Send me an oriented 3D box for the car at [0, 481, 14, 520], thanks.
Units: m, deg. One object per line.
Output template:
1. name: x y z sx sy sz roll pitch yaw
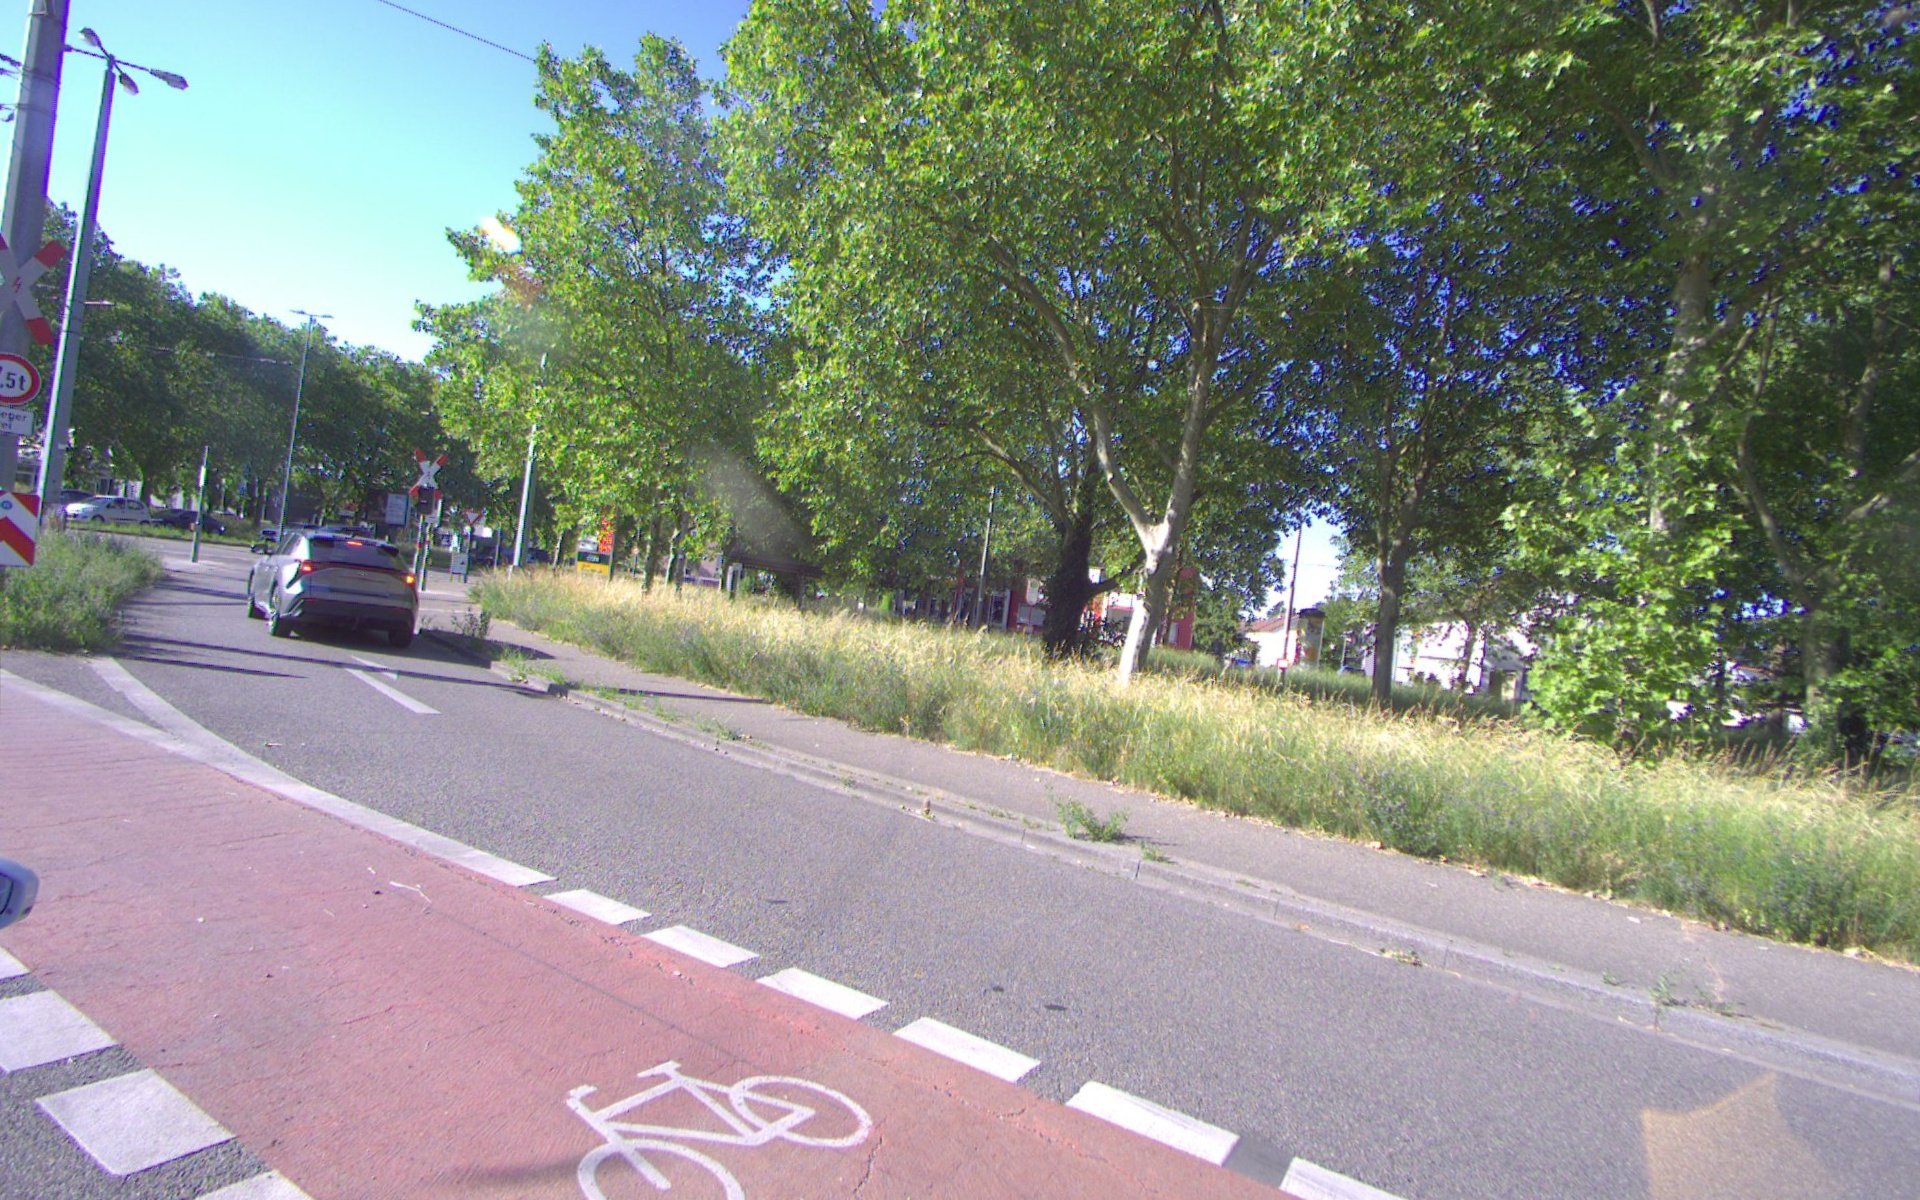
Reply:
1. car: -41.048 -4.323 40.576 1.575 1.549 4.002 7 0 9

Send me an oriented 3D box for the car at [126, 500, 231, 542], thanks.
1. car: -42.935 -4.307 55.424 1.661 1.593 4.528 7 -1 9

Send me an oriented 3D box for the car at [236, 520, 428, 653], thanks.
1. car: -10.216 -0.286 16.204 1.760 1.651 4.444 7 0 -42

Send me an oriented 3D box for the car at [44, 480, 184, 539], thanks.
1. car: -40.473 -4.287 48.300 1.962 2.038 4.907 7 -1 9

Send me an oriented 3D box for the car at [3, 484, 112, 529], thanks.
1. car: -44.027 -4.517 49.163 1.462 1.589 3.758 7 -1 9

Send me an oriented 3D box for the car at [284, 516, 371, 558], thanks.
1. car: -36.141 -3.545 57.626 1.821 1.796 4.217 7 -1 7

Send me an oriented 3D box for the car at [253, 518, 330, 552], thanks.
1. car: -41.943 -4.056 63.229 1.562 1.519 4.003 7 -1 9
